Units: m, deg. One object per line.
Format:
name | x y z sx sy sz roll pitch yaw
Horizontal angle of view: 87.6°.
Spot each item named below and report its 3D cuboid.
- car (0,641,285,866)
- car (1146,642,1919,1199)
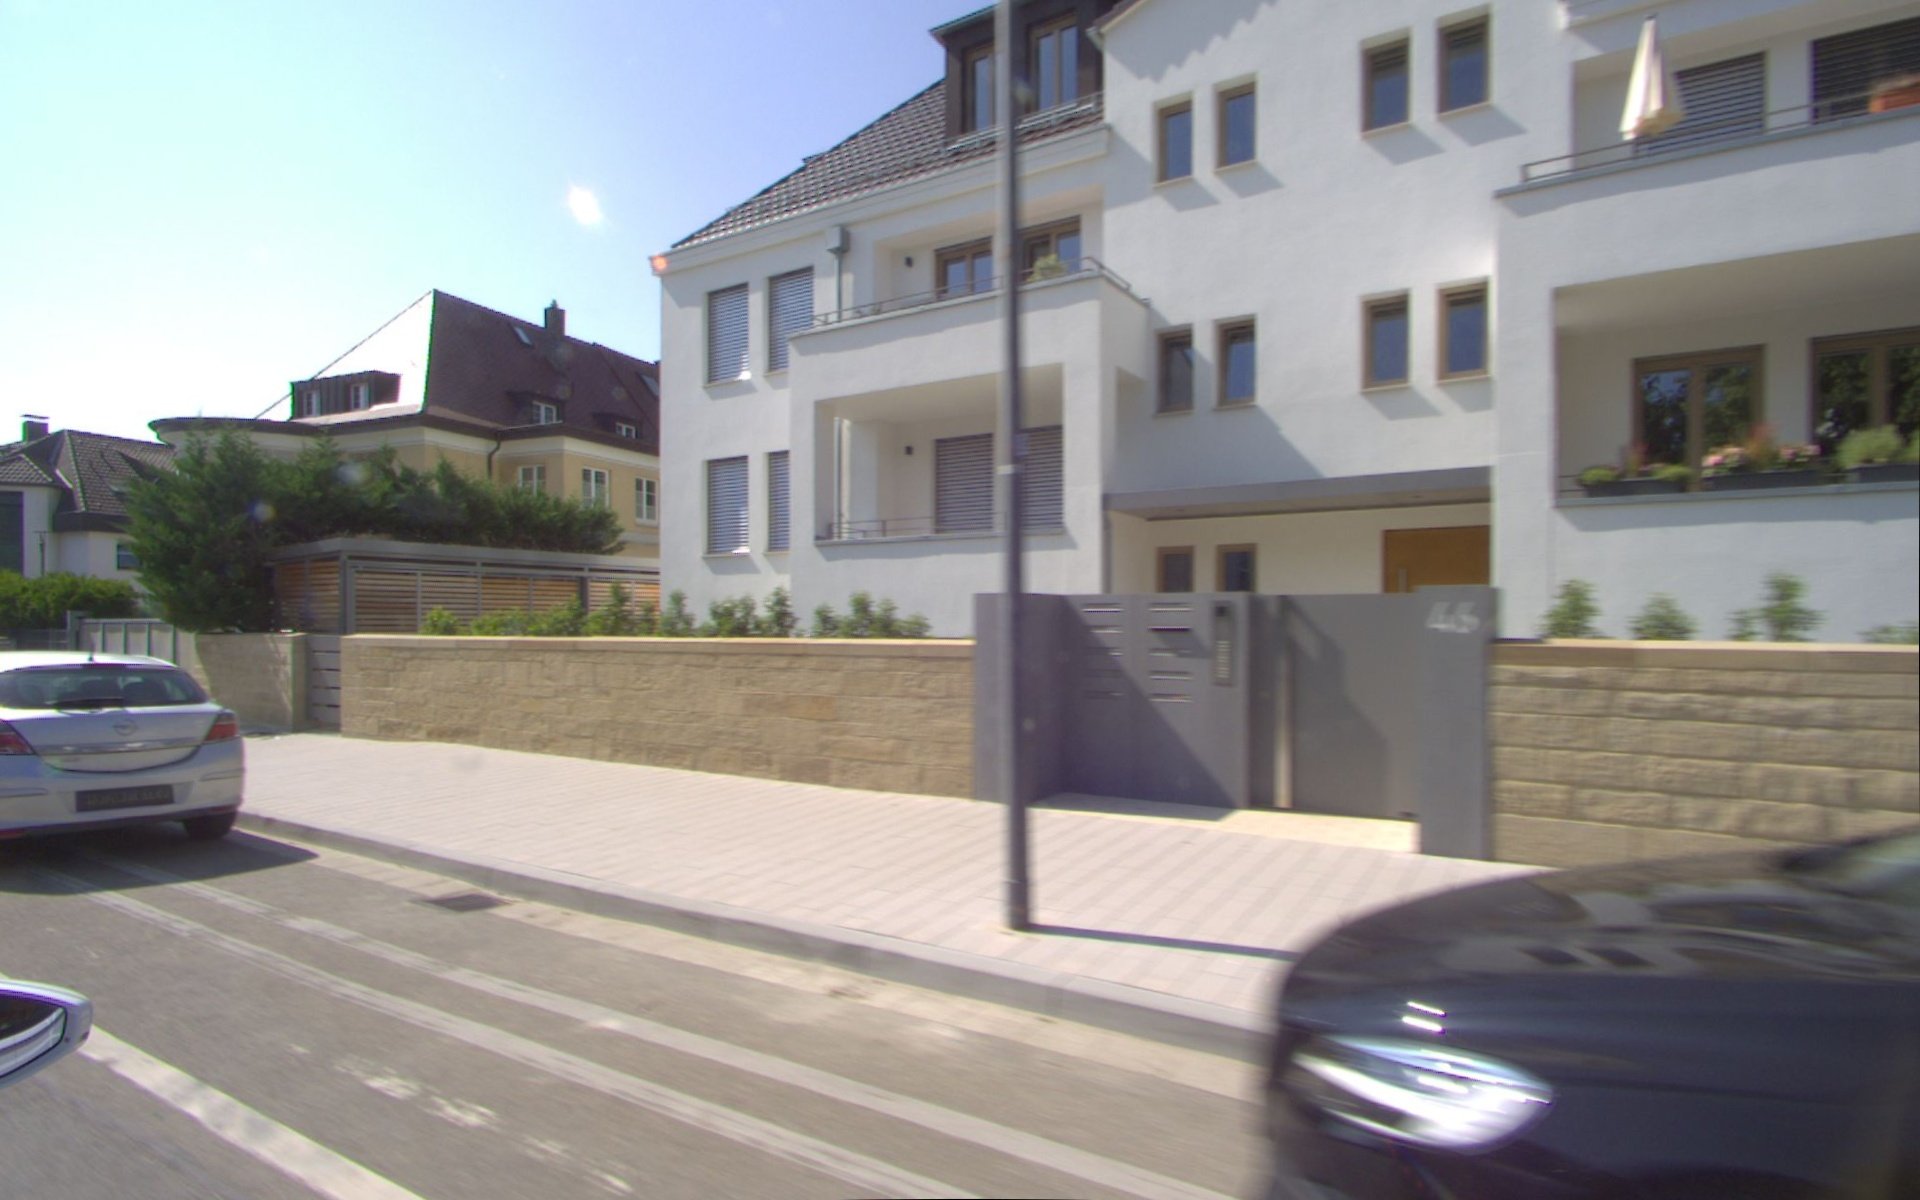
car | -7.096 1.029 7.655 4.019 1.345 1.735 -2 -5 33
car | 2.526 0.846 1.471 4.107 1.466 1.721 -1 -4 31
